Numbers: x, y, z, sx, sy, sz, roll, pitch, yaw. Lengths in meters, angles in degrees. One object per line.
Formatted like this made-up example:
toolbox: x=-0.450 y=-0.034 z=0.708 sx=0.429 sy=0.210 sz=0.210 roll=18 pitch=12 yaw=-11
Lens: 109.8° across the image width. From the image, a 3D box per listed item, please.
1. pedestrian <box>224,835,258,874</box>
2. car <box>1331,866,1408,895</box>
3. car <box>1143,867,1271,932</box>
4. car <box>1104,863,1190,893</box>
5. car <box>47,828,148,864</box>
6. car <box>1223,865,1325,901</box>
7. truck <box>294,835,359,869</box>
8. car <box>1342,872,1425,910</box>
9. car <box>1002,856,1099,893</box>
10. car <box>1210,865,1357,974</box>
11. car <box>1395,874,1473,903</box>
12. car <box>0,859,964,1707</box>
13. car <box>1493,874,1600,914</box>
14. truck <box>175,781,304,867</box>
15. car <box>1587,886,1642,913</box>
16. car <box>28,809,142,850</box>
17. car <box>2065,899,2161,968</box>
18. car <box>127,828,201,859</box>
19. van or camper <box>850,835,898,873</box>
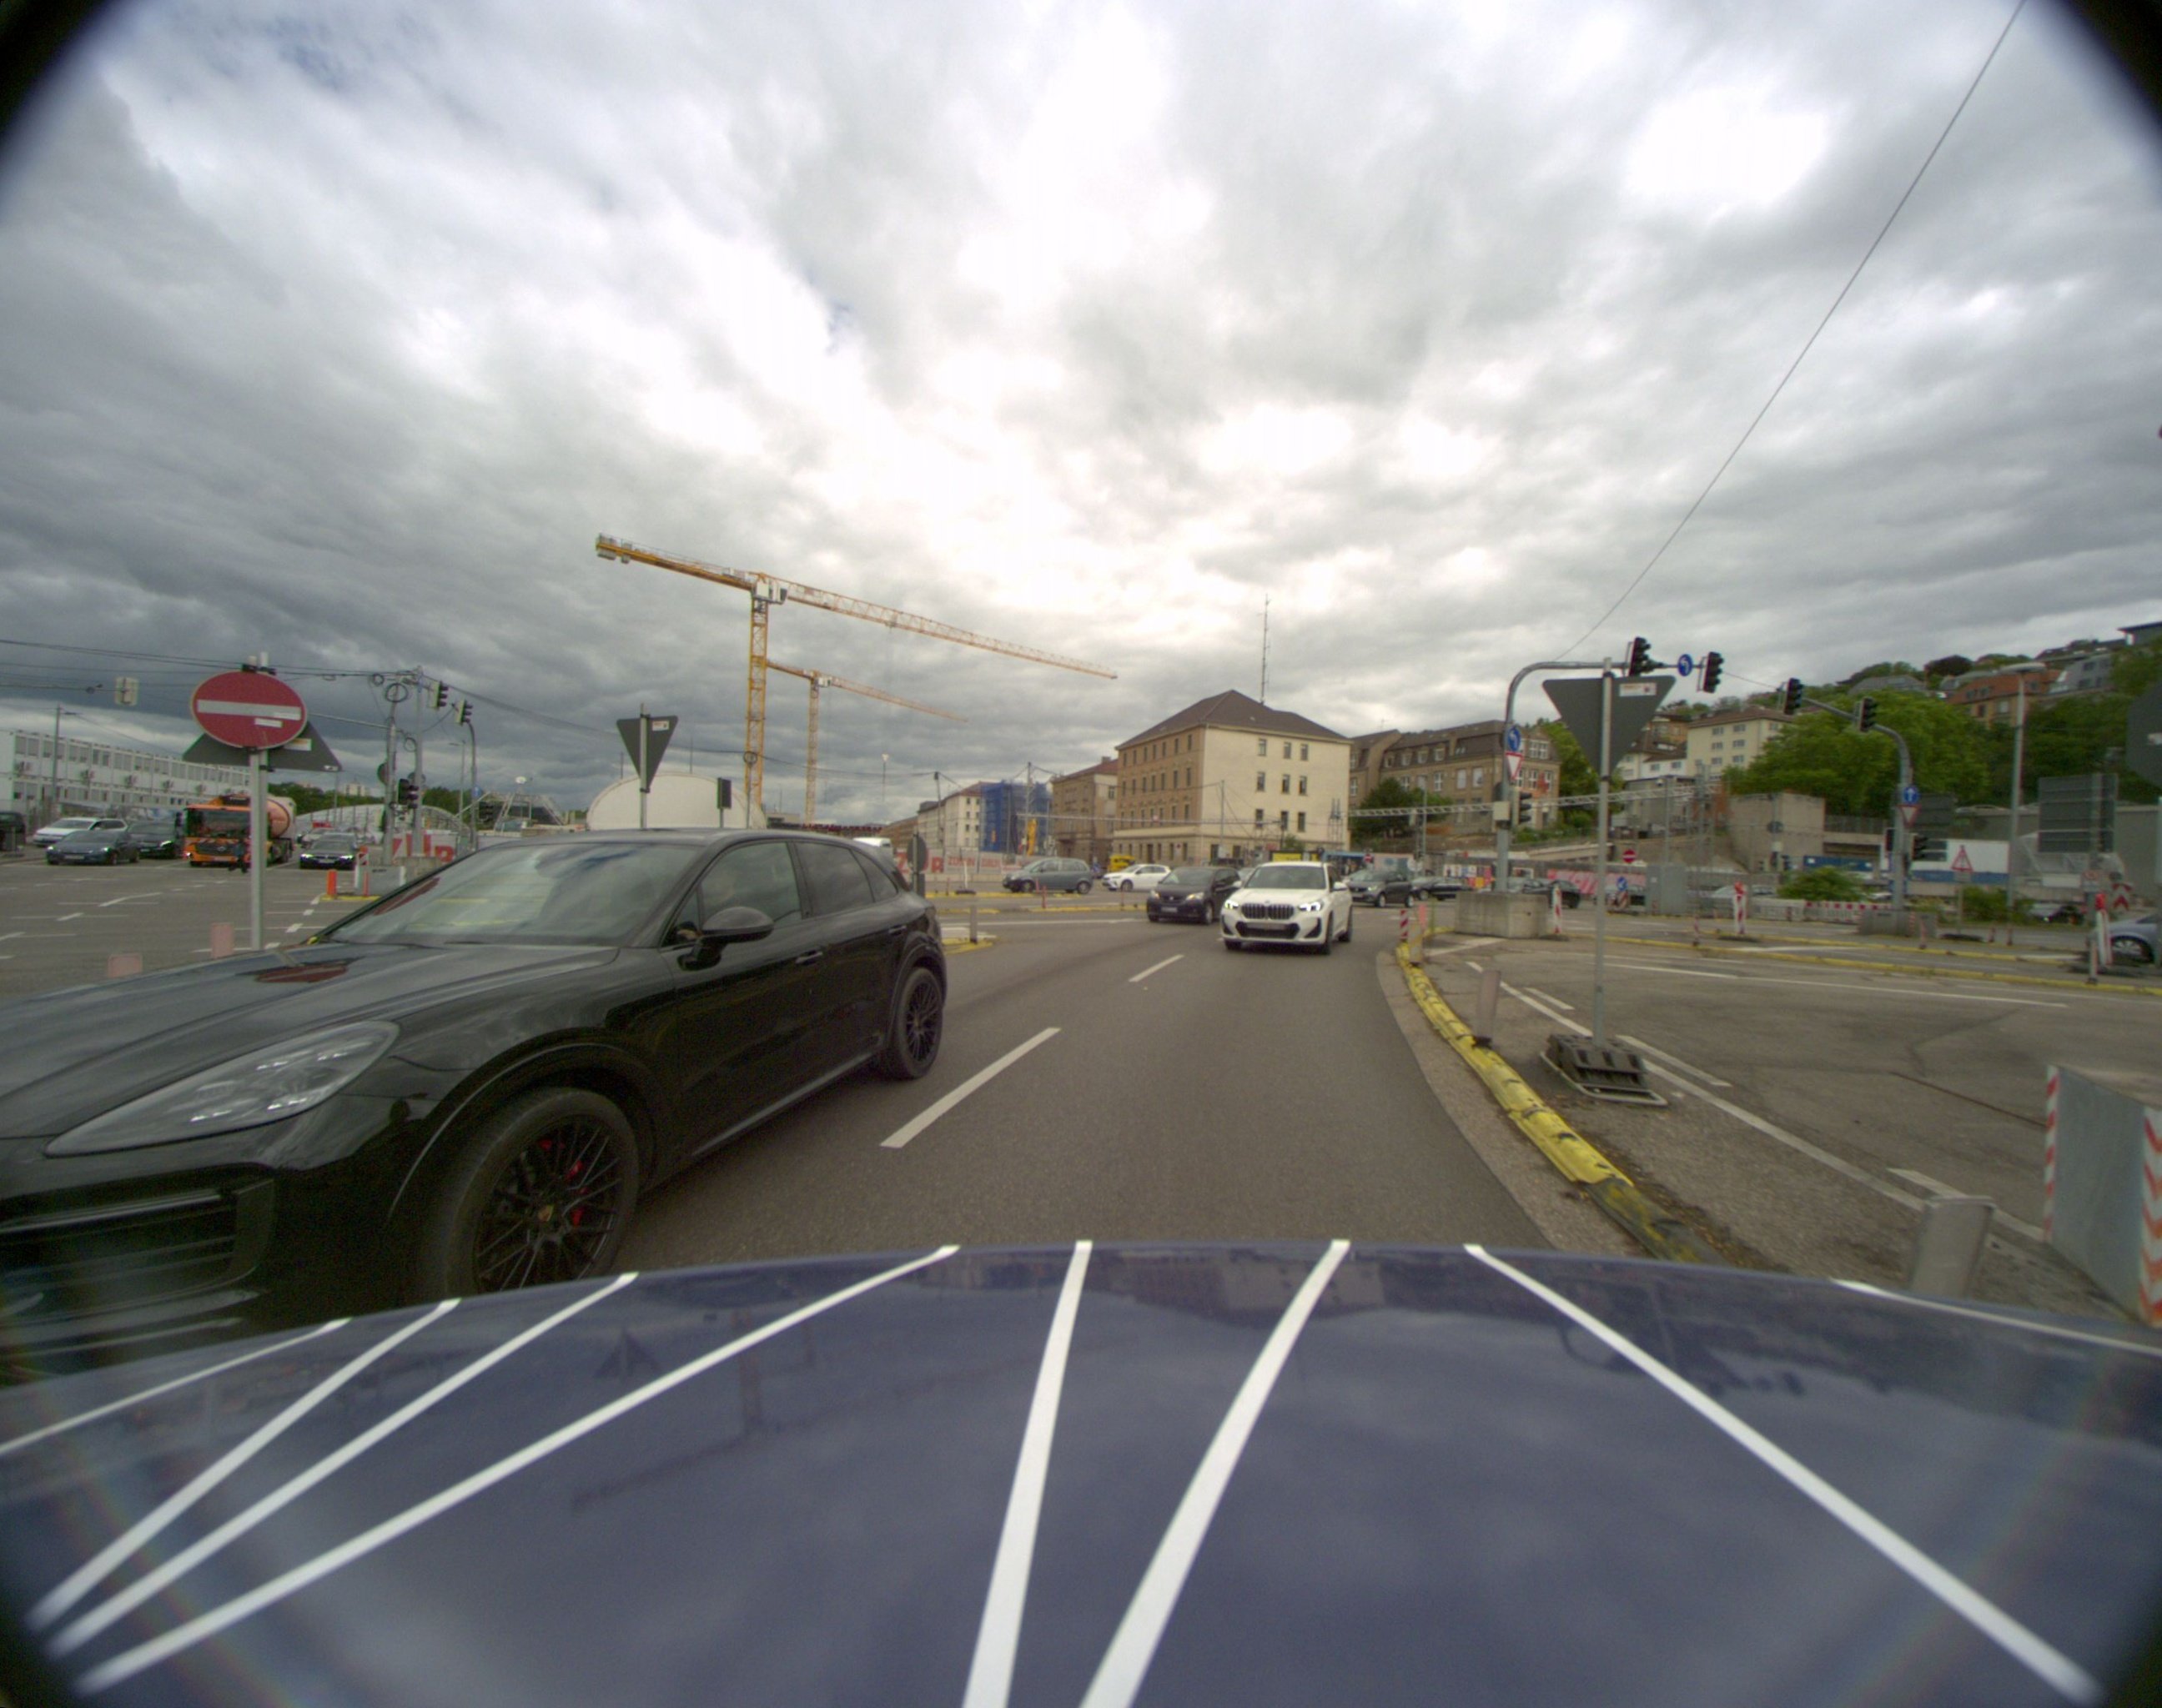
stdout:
pedestrian: x=-34.569 y=0.031 z=31.277 sx=0.852 sy=1.583 sz=0.621 roll=0 pitch=2 yaw=-42
car: x=16.882 y=1.543 z=44.457 sx=4.077 sy=1.564 sz=1.689 roll=3 pitch=-2 yaw=-22
car: x=3.536 y=1.182 z=20.613 sx=1.729 sy=1.461 sz=4.429 roll=3 pitch=0 yaw=33
car: x=3.405 y=1.239 z=39.384 sx=4.091 sy=1.407 sz=1.689 roll=2 pitch=-1 yaw=-21
car: x=-42.562 y=-0.352 z=32.992 sx=1.791 sy=1.427 sz=4.056 roll=2 pitch=0 yaw=-39
car: x=9.744 y=1.482 z=38.337 sx=4.689 sy=1.569 sz=1.907 roll=3 pitch=0 yaw=-23
truck: x=-36.675 y=-0.093 z=37.006 sx=1.830 sy=1.531 sz=3.750 roll=2 pitch=0 yaw=-39
car: x=12.418 y=1.529 z=31.078 sx=3.579 sy=1.411 sz=1.573 roll=3 pitch=0 yaw=-40
car: x=-1.358 y=0.902 z=33.957 sx=3.959 sy=1.564 sz=1.689 roll=1 pitch=0 yaw=-23
car: x=3.771 y=1.083 z=13.686 sx=1.808 sy=1.595 sz=3.721 roll=2 pitch=-1 yaw=26
car: x=19.673 y=1.939 z=42.353 sx=3.707 sy=1.381 sz=1.725 roll=3 pitch=0 yaw=-17
car: x=-2.342 y=0.850 z=3.616 sx=1.954 sy=1.638 sz=4.613 roll=0 pitch=0 yaw=13
car: x=20.352 y=1.744 z=33.213 sx=4.006 sy=1.543 sz=1.996 roll=3 pitch=0 yaw=-24
truck: x=-40.836 y=-1.380 z=37.212 sx=2.917 sy=3.653 sz=8.999 roll=2 pitch=0 yaw=-40
car: x=33.413 y=2.837 z=47.726 sx=1.872 sy=1.412 sz=4.111 roll=1 pitch=0 yaw=21
car: x=-54.293 y=-1.297 z=41.558 sx=2.003 sy=2.001 sz=4.156 roll=2 pitch=-1 yaw=-25
car: x=25.619 y=1.858 z=16.956 sx=1.773 sy=1.495 sz=4.124 roll=2 pitch=-1 yaw=-22
car: x=-45.706 y=-0.527 z=37.950 sx=1.656 sy=1.427 sz=3.608 roll=2 pitch=0 yaw=-39
van or camper: x=-12.989 y=-0.024 z=47.907 sx=1.999 sy=2.214 sz=3.998 roll=2 pitch=2 yaw=-2
